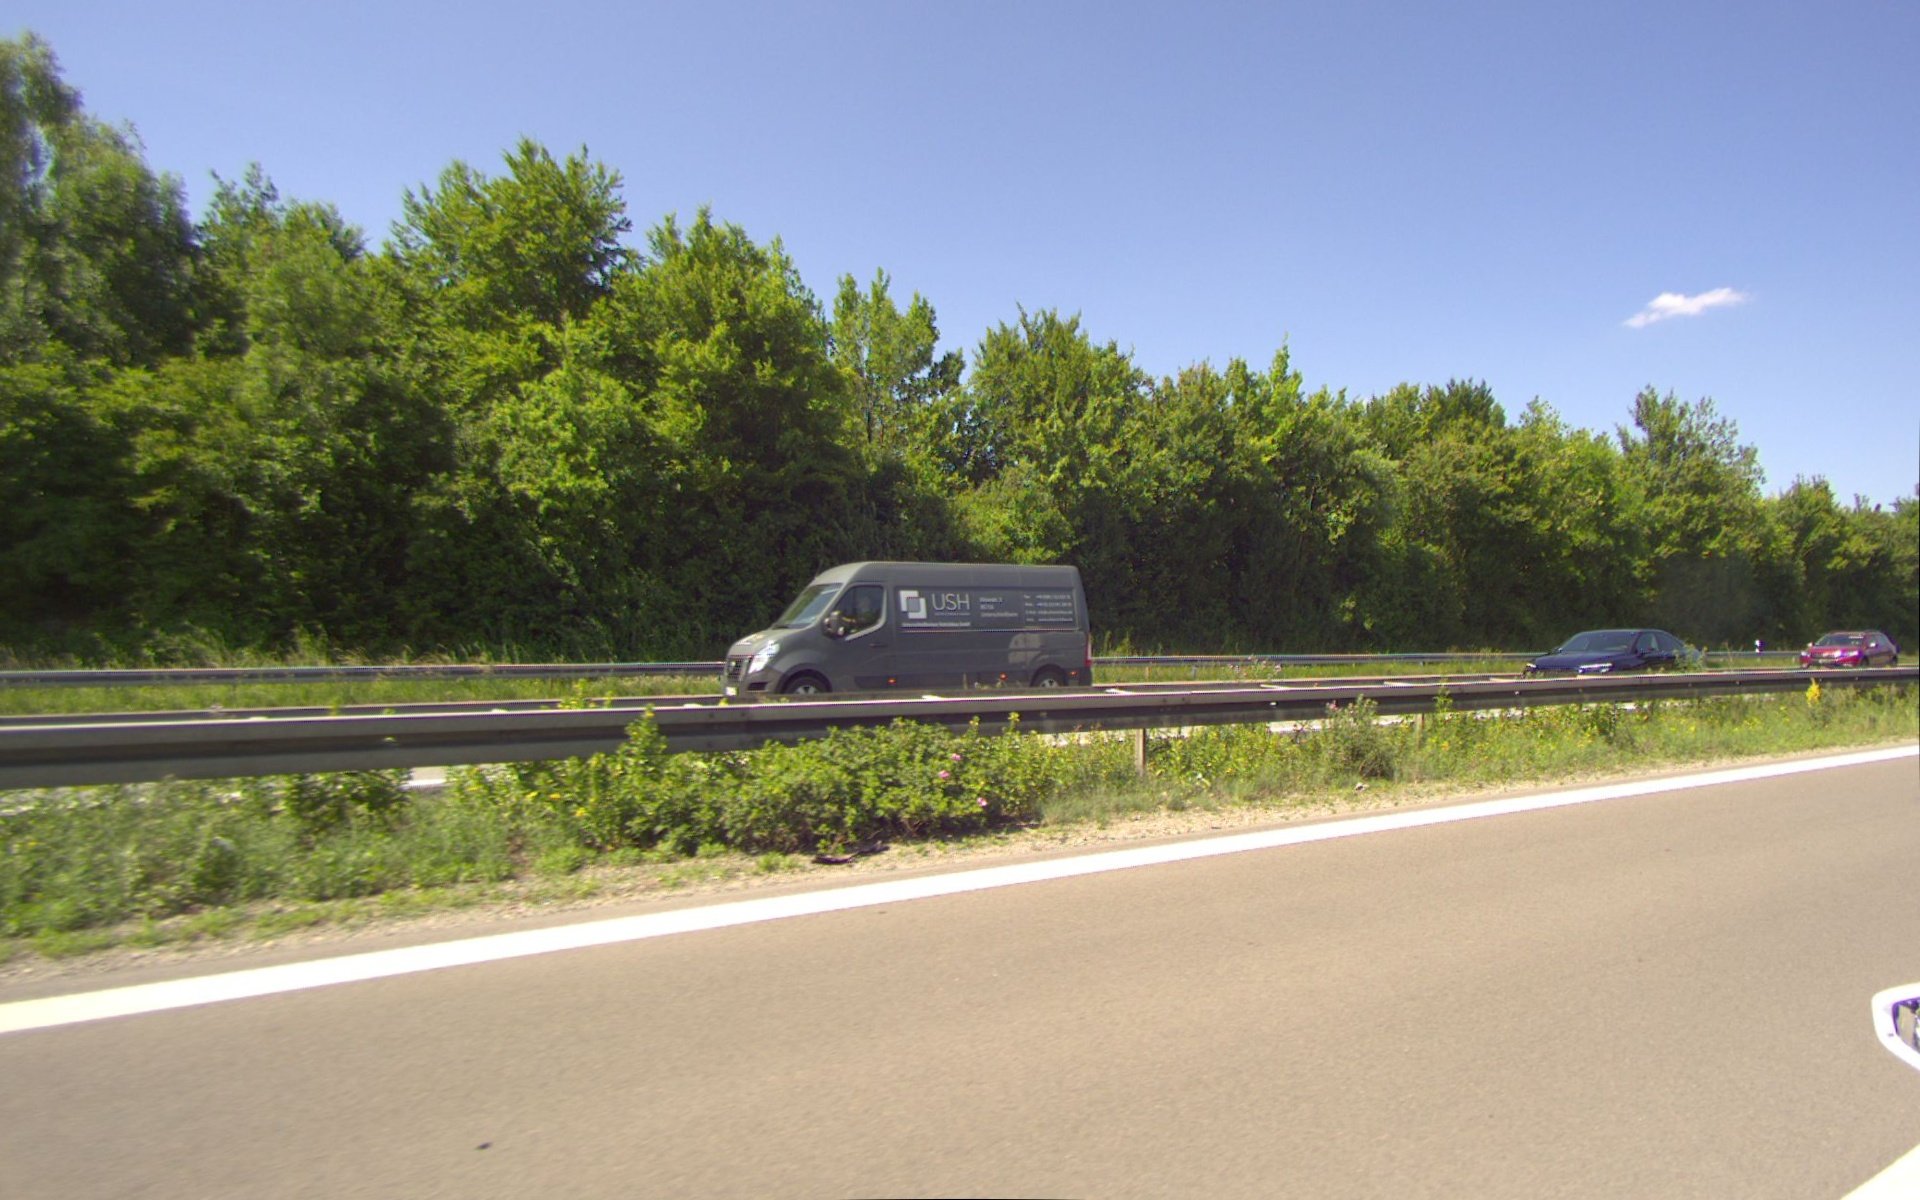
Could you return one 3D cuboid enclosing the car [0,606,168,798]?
[{"bbox_3d":[-8.712,0.720,7.232,4.493,1.393,1.716,1,-2,-31],"label":"car"}]

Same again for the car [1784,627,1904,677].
[{"bbox_3d":[31.488,1.856,35.744,4.267,1.651,1.855,2,-2,-28],"label":"car"}]

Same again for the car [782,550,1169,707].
[{"bbox_3d":[0.416,0.538,16.996,6.442,2.264,1.984,2,-2,-30],"label":"car"}]
